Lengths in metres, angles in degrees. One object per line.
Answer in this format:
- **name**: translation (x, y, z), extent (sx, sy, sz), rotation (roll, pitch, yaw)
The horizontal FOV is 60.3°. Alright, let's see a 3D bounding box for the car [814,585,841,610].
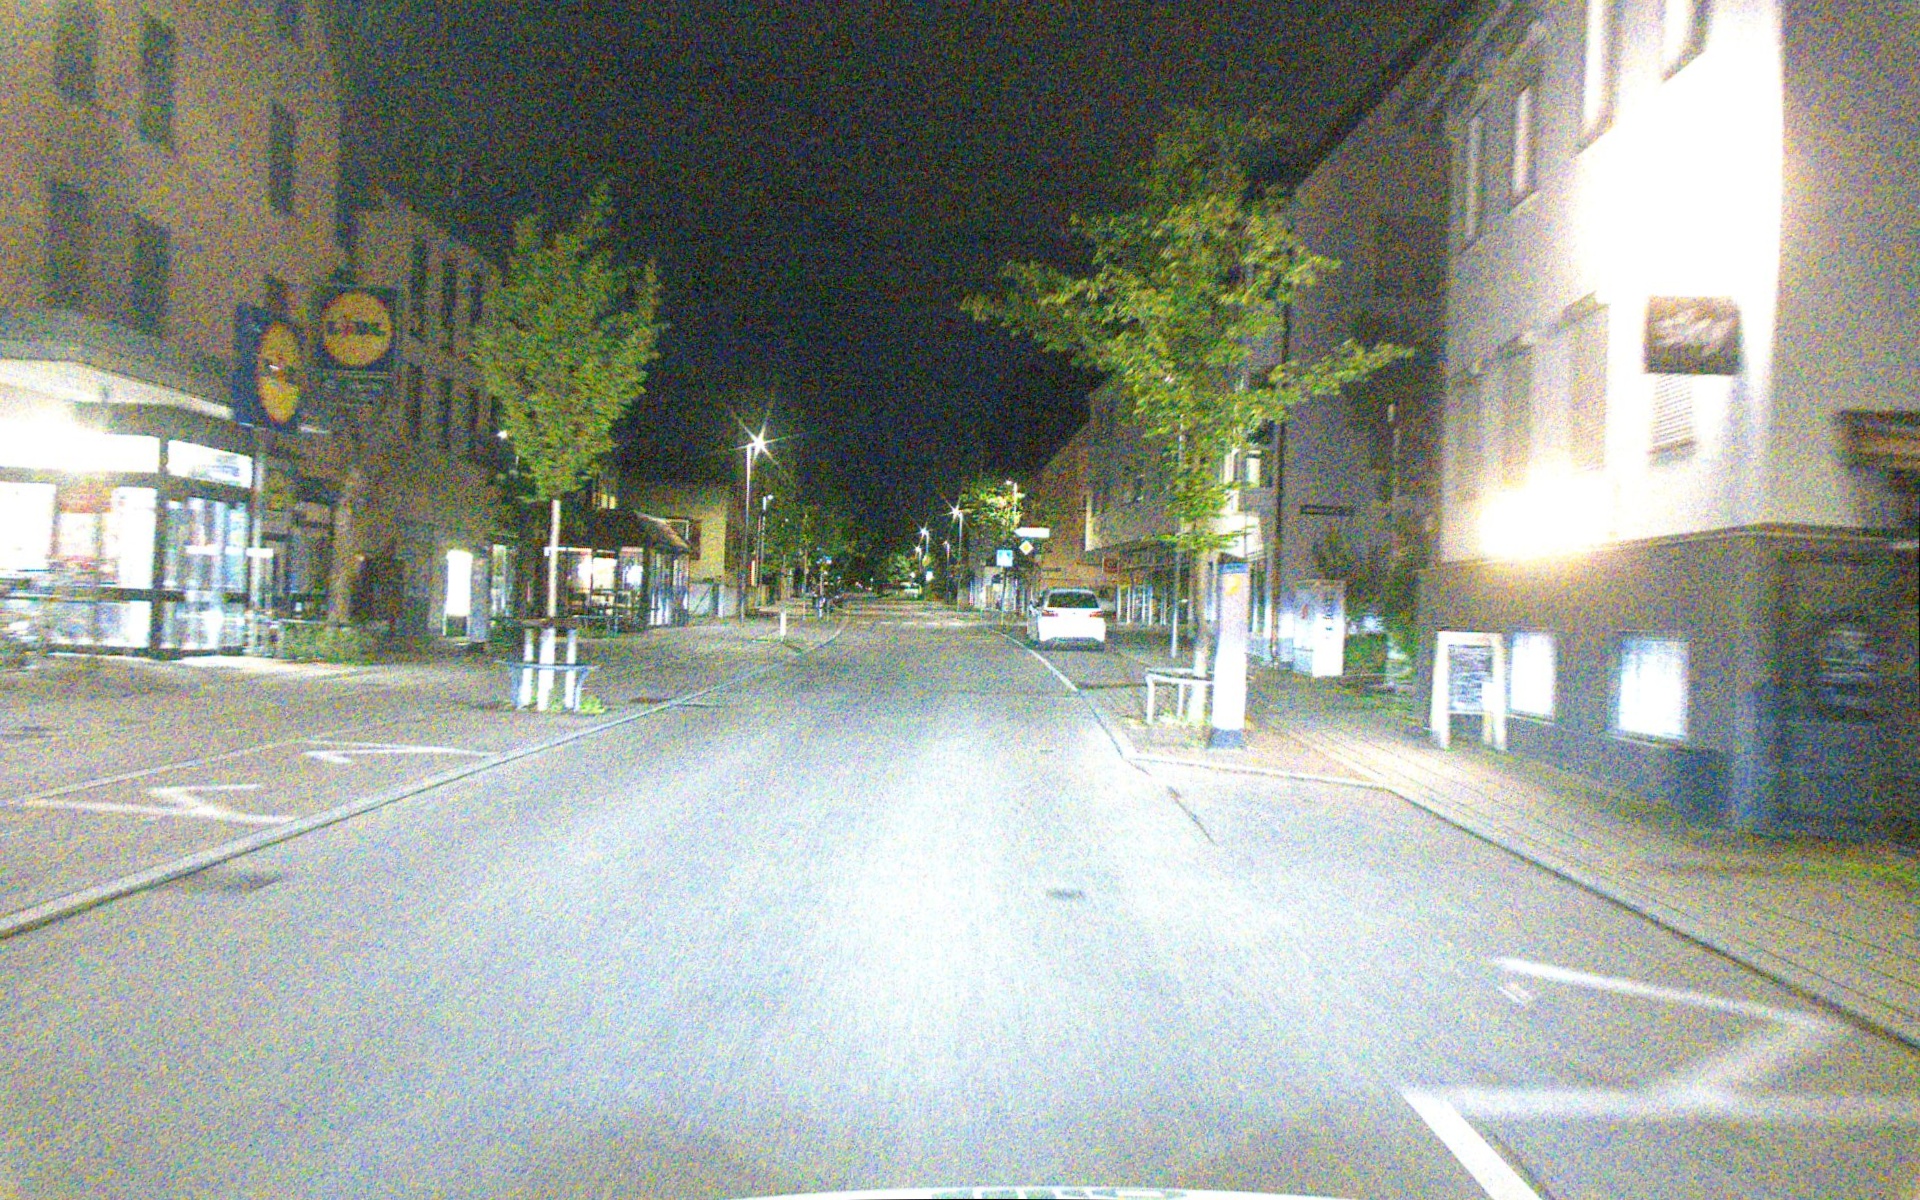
- **car**: translation (-8.537, -0.198, 106.790), extent (1.654, 1.536, 4.275), rotation (1, 0, -4)

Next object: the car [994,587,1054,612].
- **car**: translation (4.022, -0.045, 103.952), extent (3.636, 1.499, 1.730), rotation (1, 0, -2)

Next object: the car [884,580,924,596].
- **car**: translation (-7.325, -1.555, 215.237), extent (5.082, 2.049, 2.099), rotation (0, 0, -6)

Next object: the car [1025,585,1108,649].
- **car**: translation (2.731, 0.404, 43.178), extent (1.708, 1.596, 4.206), rotation (0, 0, -3)

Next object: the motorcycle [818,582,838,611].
- **motorcycle**: translation (-6.986, -0.183, 87.423), extent (0.730, 1.477, 2.197), rotation (1, 0, 4)

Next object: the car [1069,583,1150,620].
- **car**: translation (6.896, 0.081, 76.656), extent (3.437, 1.551, 1.819), rotation (-2, 0, -5)

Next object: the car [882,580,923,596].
- **car**: translation (-7.354, -1.521, 212.162), extent (5.082, 2.049, 2.099), rotation (0, 0, -6)
